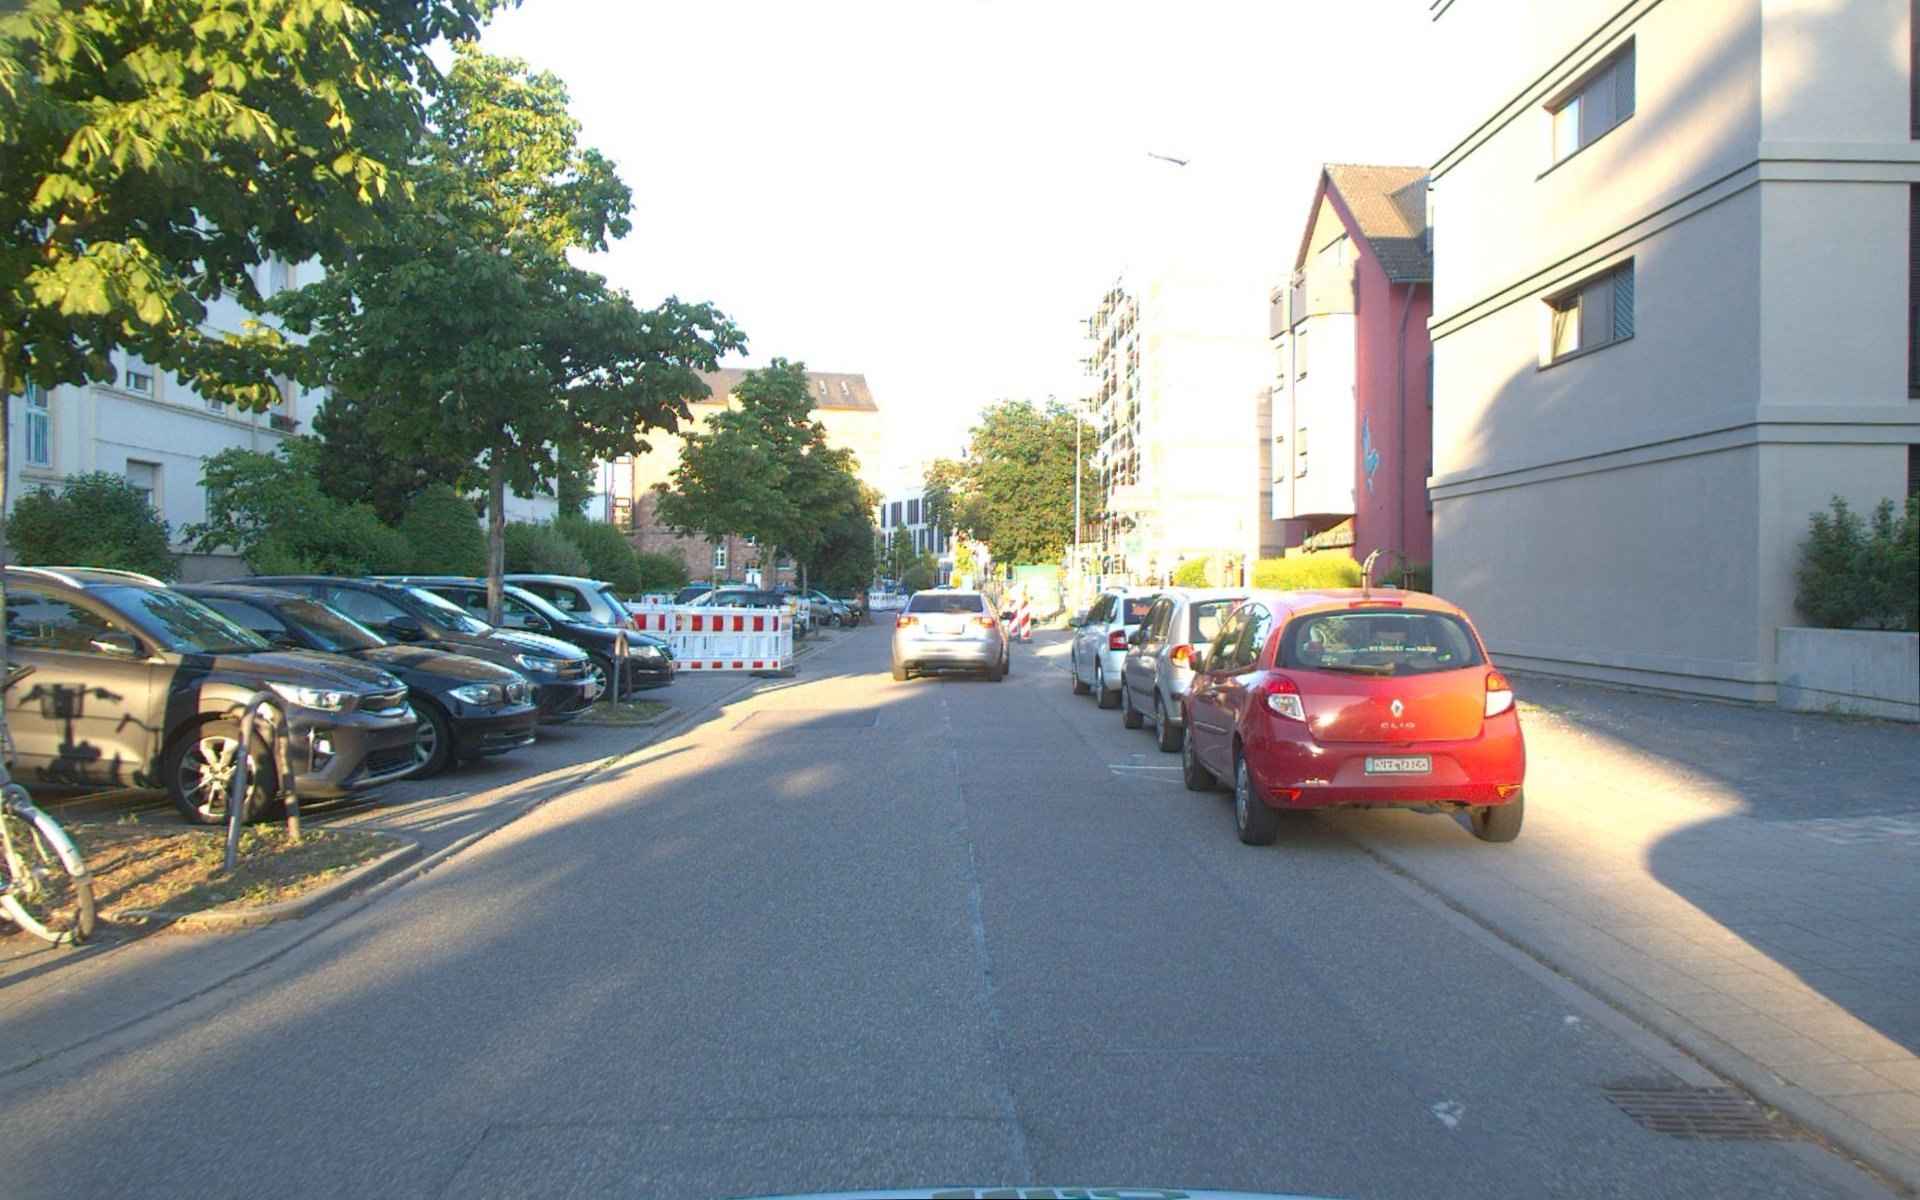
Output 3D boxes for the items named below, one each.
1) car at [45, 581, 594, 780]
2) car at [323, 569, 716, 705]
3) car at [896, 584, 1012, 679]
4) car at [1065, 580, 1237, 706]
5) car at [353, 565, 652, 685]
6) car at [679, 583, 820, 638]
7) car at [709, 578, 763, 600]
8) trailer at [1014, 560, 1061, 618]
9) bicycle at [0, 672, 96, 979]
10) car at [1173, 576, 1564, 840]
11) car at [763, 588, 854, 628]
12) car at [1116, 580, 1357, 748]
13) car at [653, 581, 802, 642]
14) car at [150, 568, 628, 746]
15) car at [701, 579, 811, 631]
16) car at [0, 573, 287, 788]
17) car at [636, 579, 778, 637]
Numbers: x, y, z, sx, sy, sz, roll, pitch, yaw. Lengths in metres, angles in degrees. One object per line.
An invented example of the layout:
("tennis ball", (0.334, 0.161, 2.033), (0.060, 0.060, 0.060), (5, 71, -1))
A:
("car", (-5.036, 0.602, 13.345), (3.763, 1.408, 1.607), (2, 0, 0))
("car", (-5.428, 0.438, 20.758), (4.414, 1.510, 1.728), (2, 0, 0))
("car", (-0.107, 0.449, 26.791), (1.739, 1.421, 4.107), (0, 1, -1))
("car", (2.399, 0.485, 21.672), (1.582, 1.495, 3.994), (0, 1, -3))
("car", (-6.277, 0.326, 22.973), (3.623, 1.510, 1.728), (2, 0, 0))
("car", (-6.168, 0.318, 48.858), (3.896, 1.515, 1.728), (1, -1, 0))
("car", (-15.838, -0.758, 116.792), (3.575, 1.530, 1.629), (-1, 1, -18))
("trailer", (3.547, -0.525, 76.585), (1.953, 2.584, 4.186), (0, 1, -1))
("bicycle", (-3.821, 0.866, 6.111), (0.438, 1.115, 1.629), (0, 0, -2))
("car", (2.562, 0.592, 11.257), (1.705, 1.495, 3.758), (0, 1, -1))
("car", (-6.111, 0.312, 66.831), (3.550, 1.584, 1.692), (0, 0, -2))
("car", (2.649, 0.551, 16.696), (1.761, 1.495, 3.843), (0, 1, -1))
("car", (-6.044, 0.305, 43.278), (3.601, 1.470, 1.728), (1, -1, 0))
("car", (-5.377, 0.510, 15.926), (3.949, 1.510, 1.728), (2, 0, 0))
("car", (-6.526, 0.162, 53.200), (3.406, 1.593, 1.726), (1, -1, -5))
("car", (-7.205, 0.545, 12.632), (3.372, 1.468, 1.762), (2, 1, 0))
("car", (-6.966, 0.231, 45.758), (3.601, 1.510, 1.728), (1, -1, 0))
